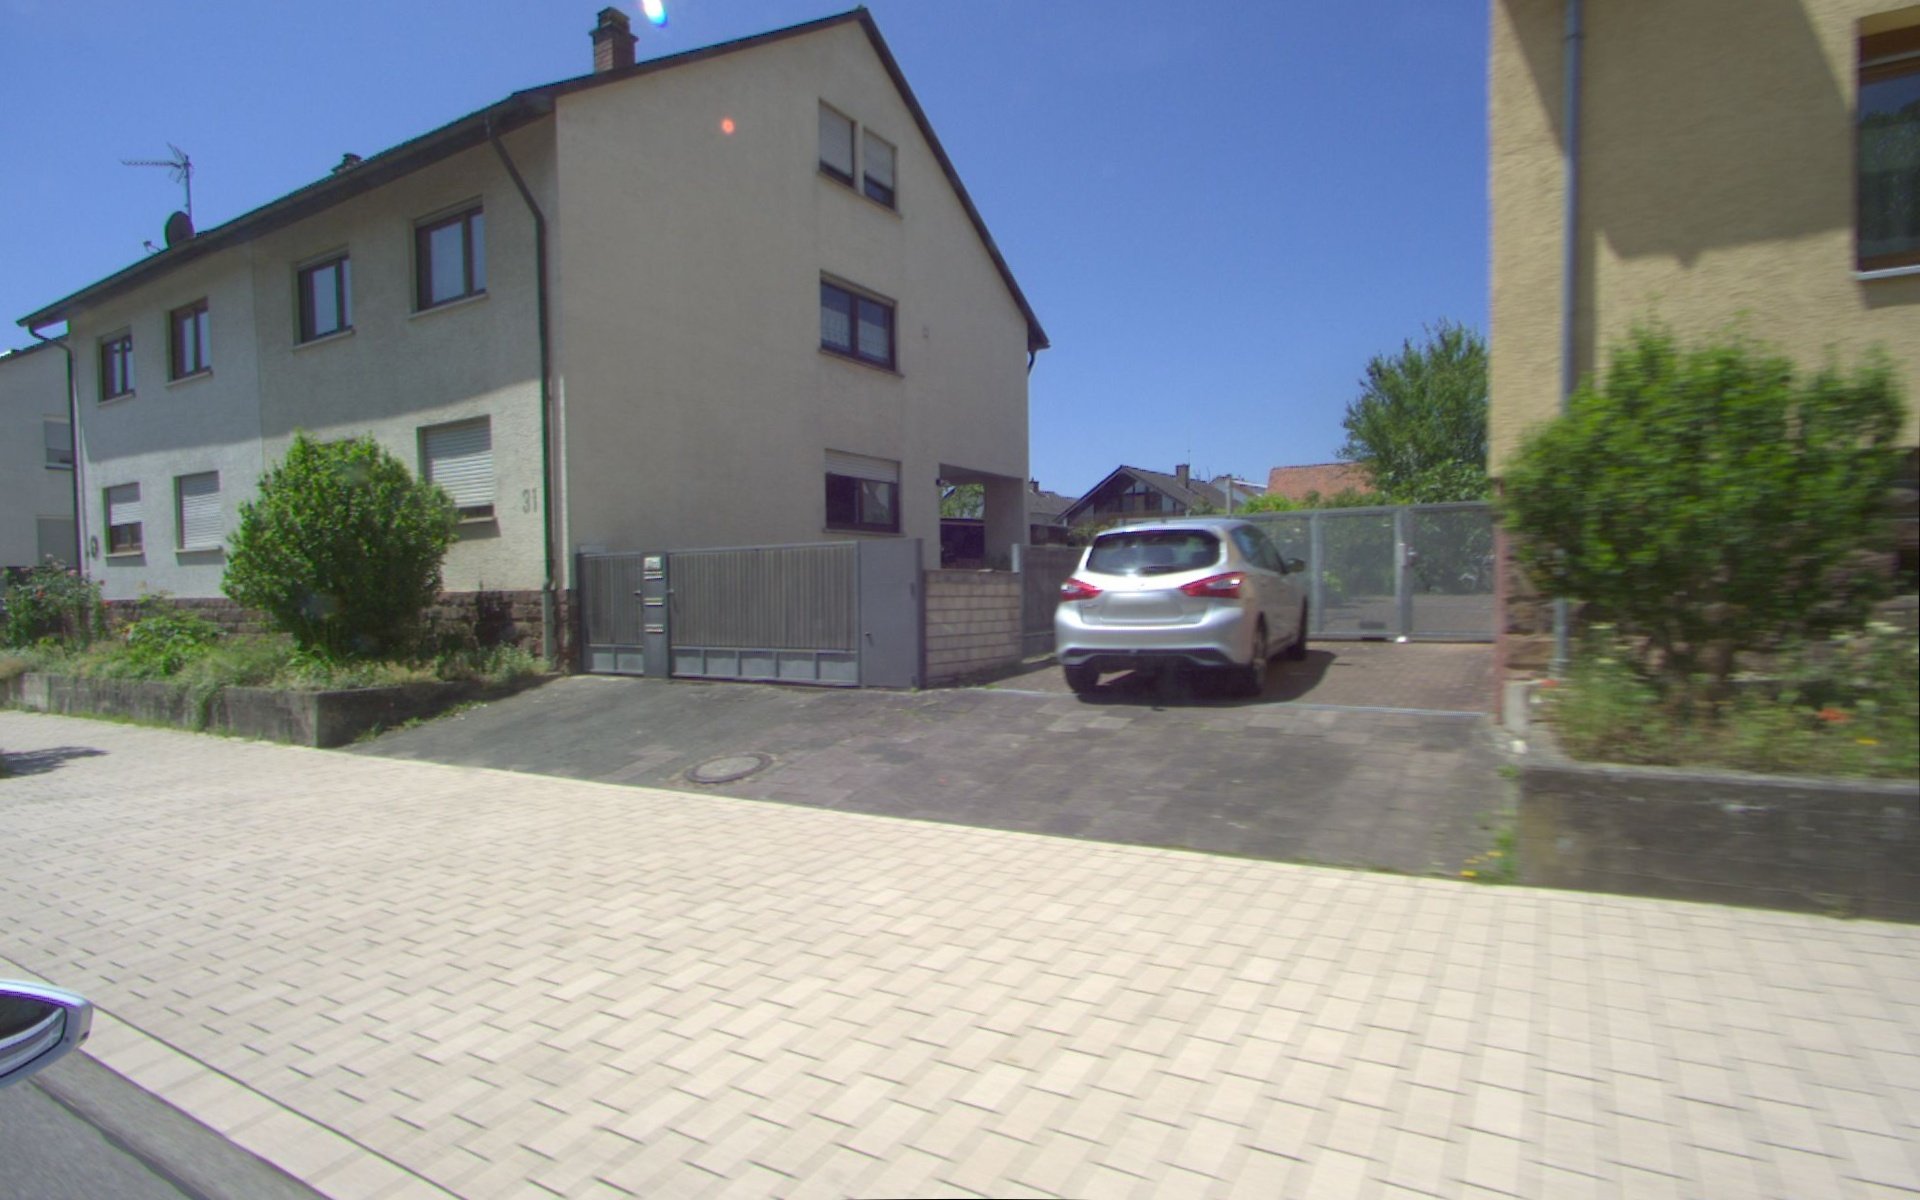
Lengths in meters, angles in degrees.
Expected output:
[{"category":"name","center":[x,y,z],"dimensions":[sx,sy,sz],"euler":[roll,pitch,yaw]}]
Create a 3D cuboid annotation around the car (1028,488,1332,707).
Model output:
[{"category":"car","center":[2.383,-0.111,9.920],"dimensions":[1.846,1.700,3.979],"euler":[-1,3,29]}]
